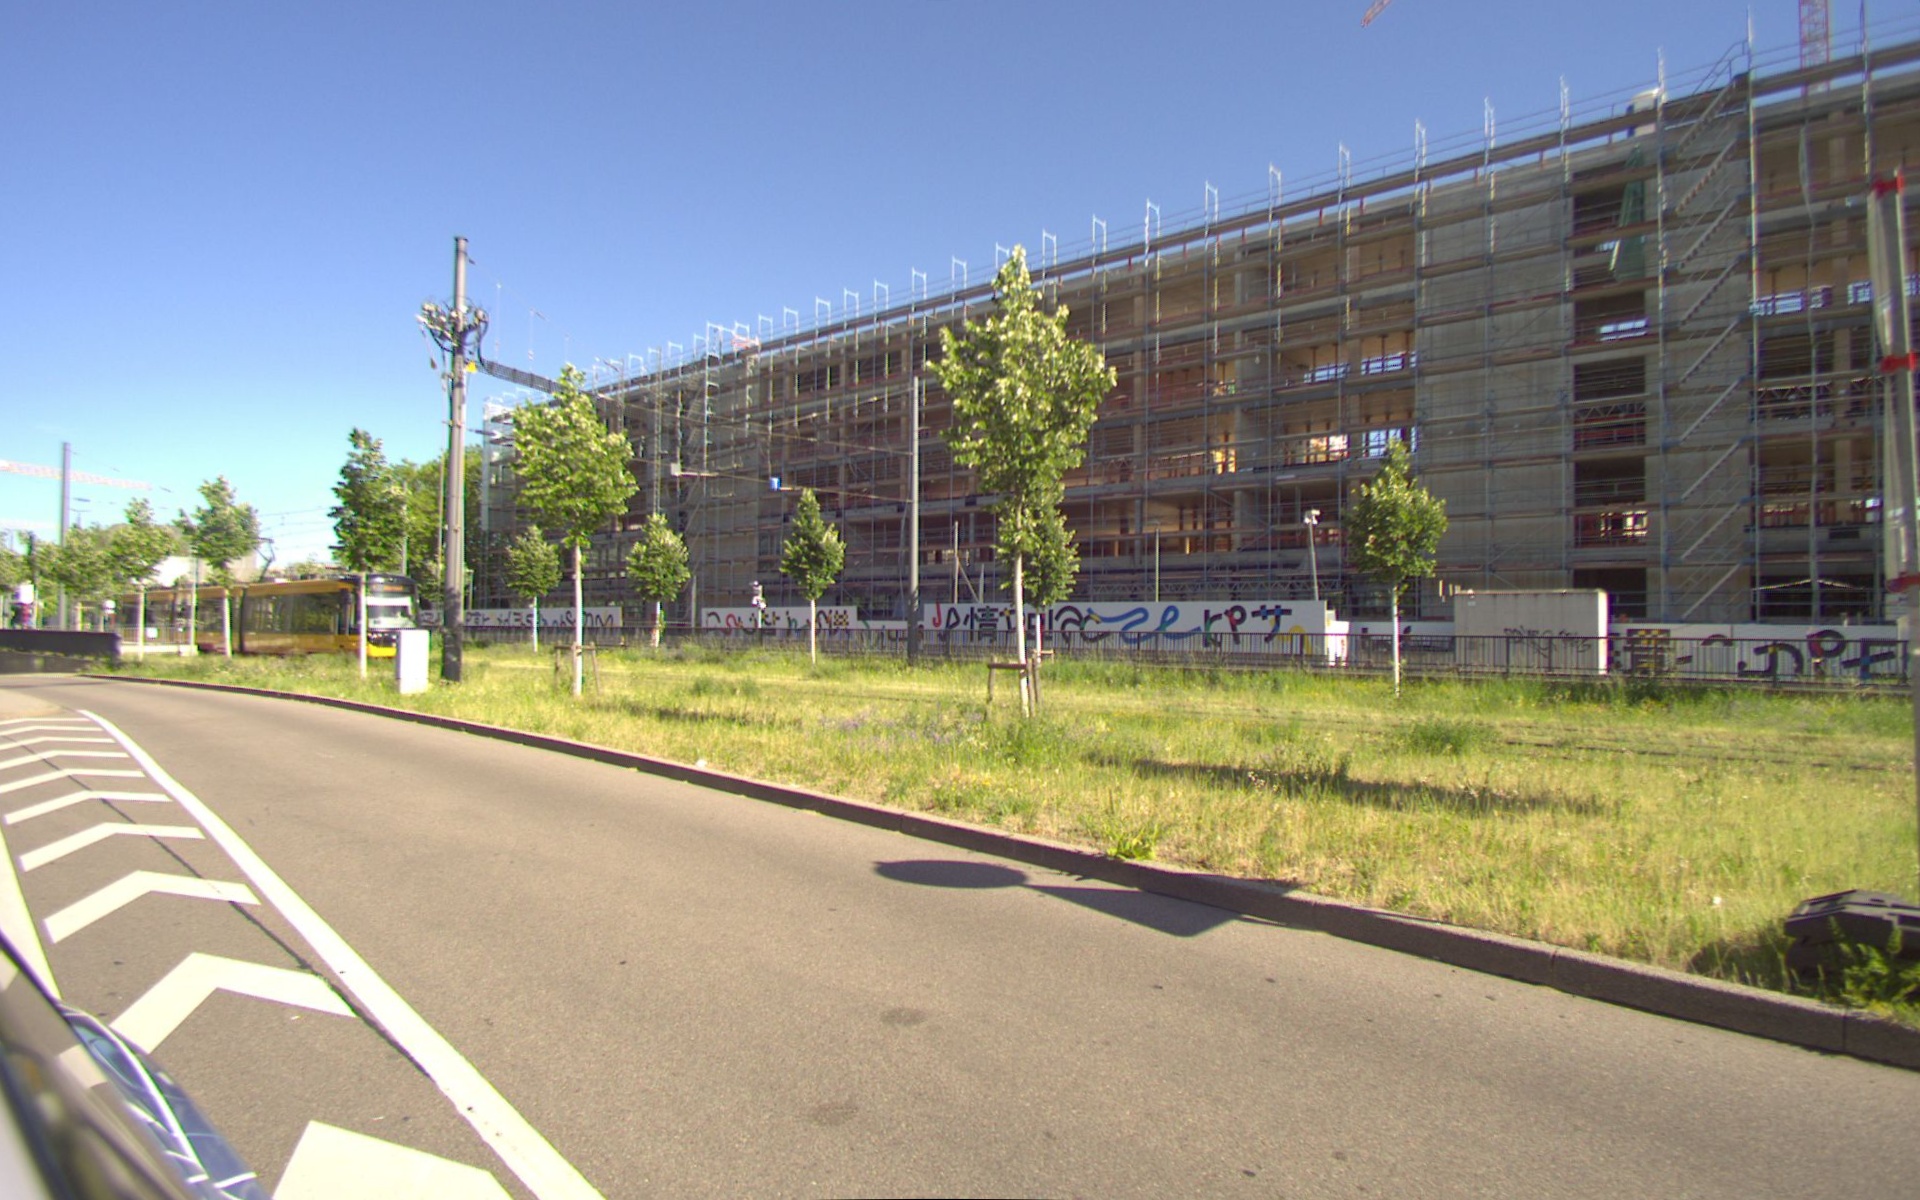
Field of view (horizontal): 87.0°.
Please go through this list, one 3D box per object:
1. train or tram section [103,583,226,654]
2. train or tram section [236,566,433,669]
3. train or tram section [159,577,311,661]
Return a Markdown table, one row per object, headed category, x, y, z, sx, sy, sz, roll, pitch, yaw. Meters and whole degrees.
| category | x | y | z | sx | sy | sz | roll | pitch | yaw |
| --- | --- | --- | --- | --- | --- | --- | --- | --- | --- |
| train or tram section | -45.405 | 1.081 | 57.510 | 12.777 | 3.666 | 2.787 | -1 | -3 | 40 |
| train or tram section | -25.725 | 0.766 | 41.168 | 12.777 | 3.666 | 2.787 | -1 | -3 | 40 |
| train or tram section | -35.559 | 0.969 | 49.338 | 12.777 | 3.666 | 2.787 | -1 | -3 | 40 |
